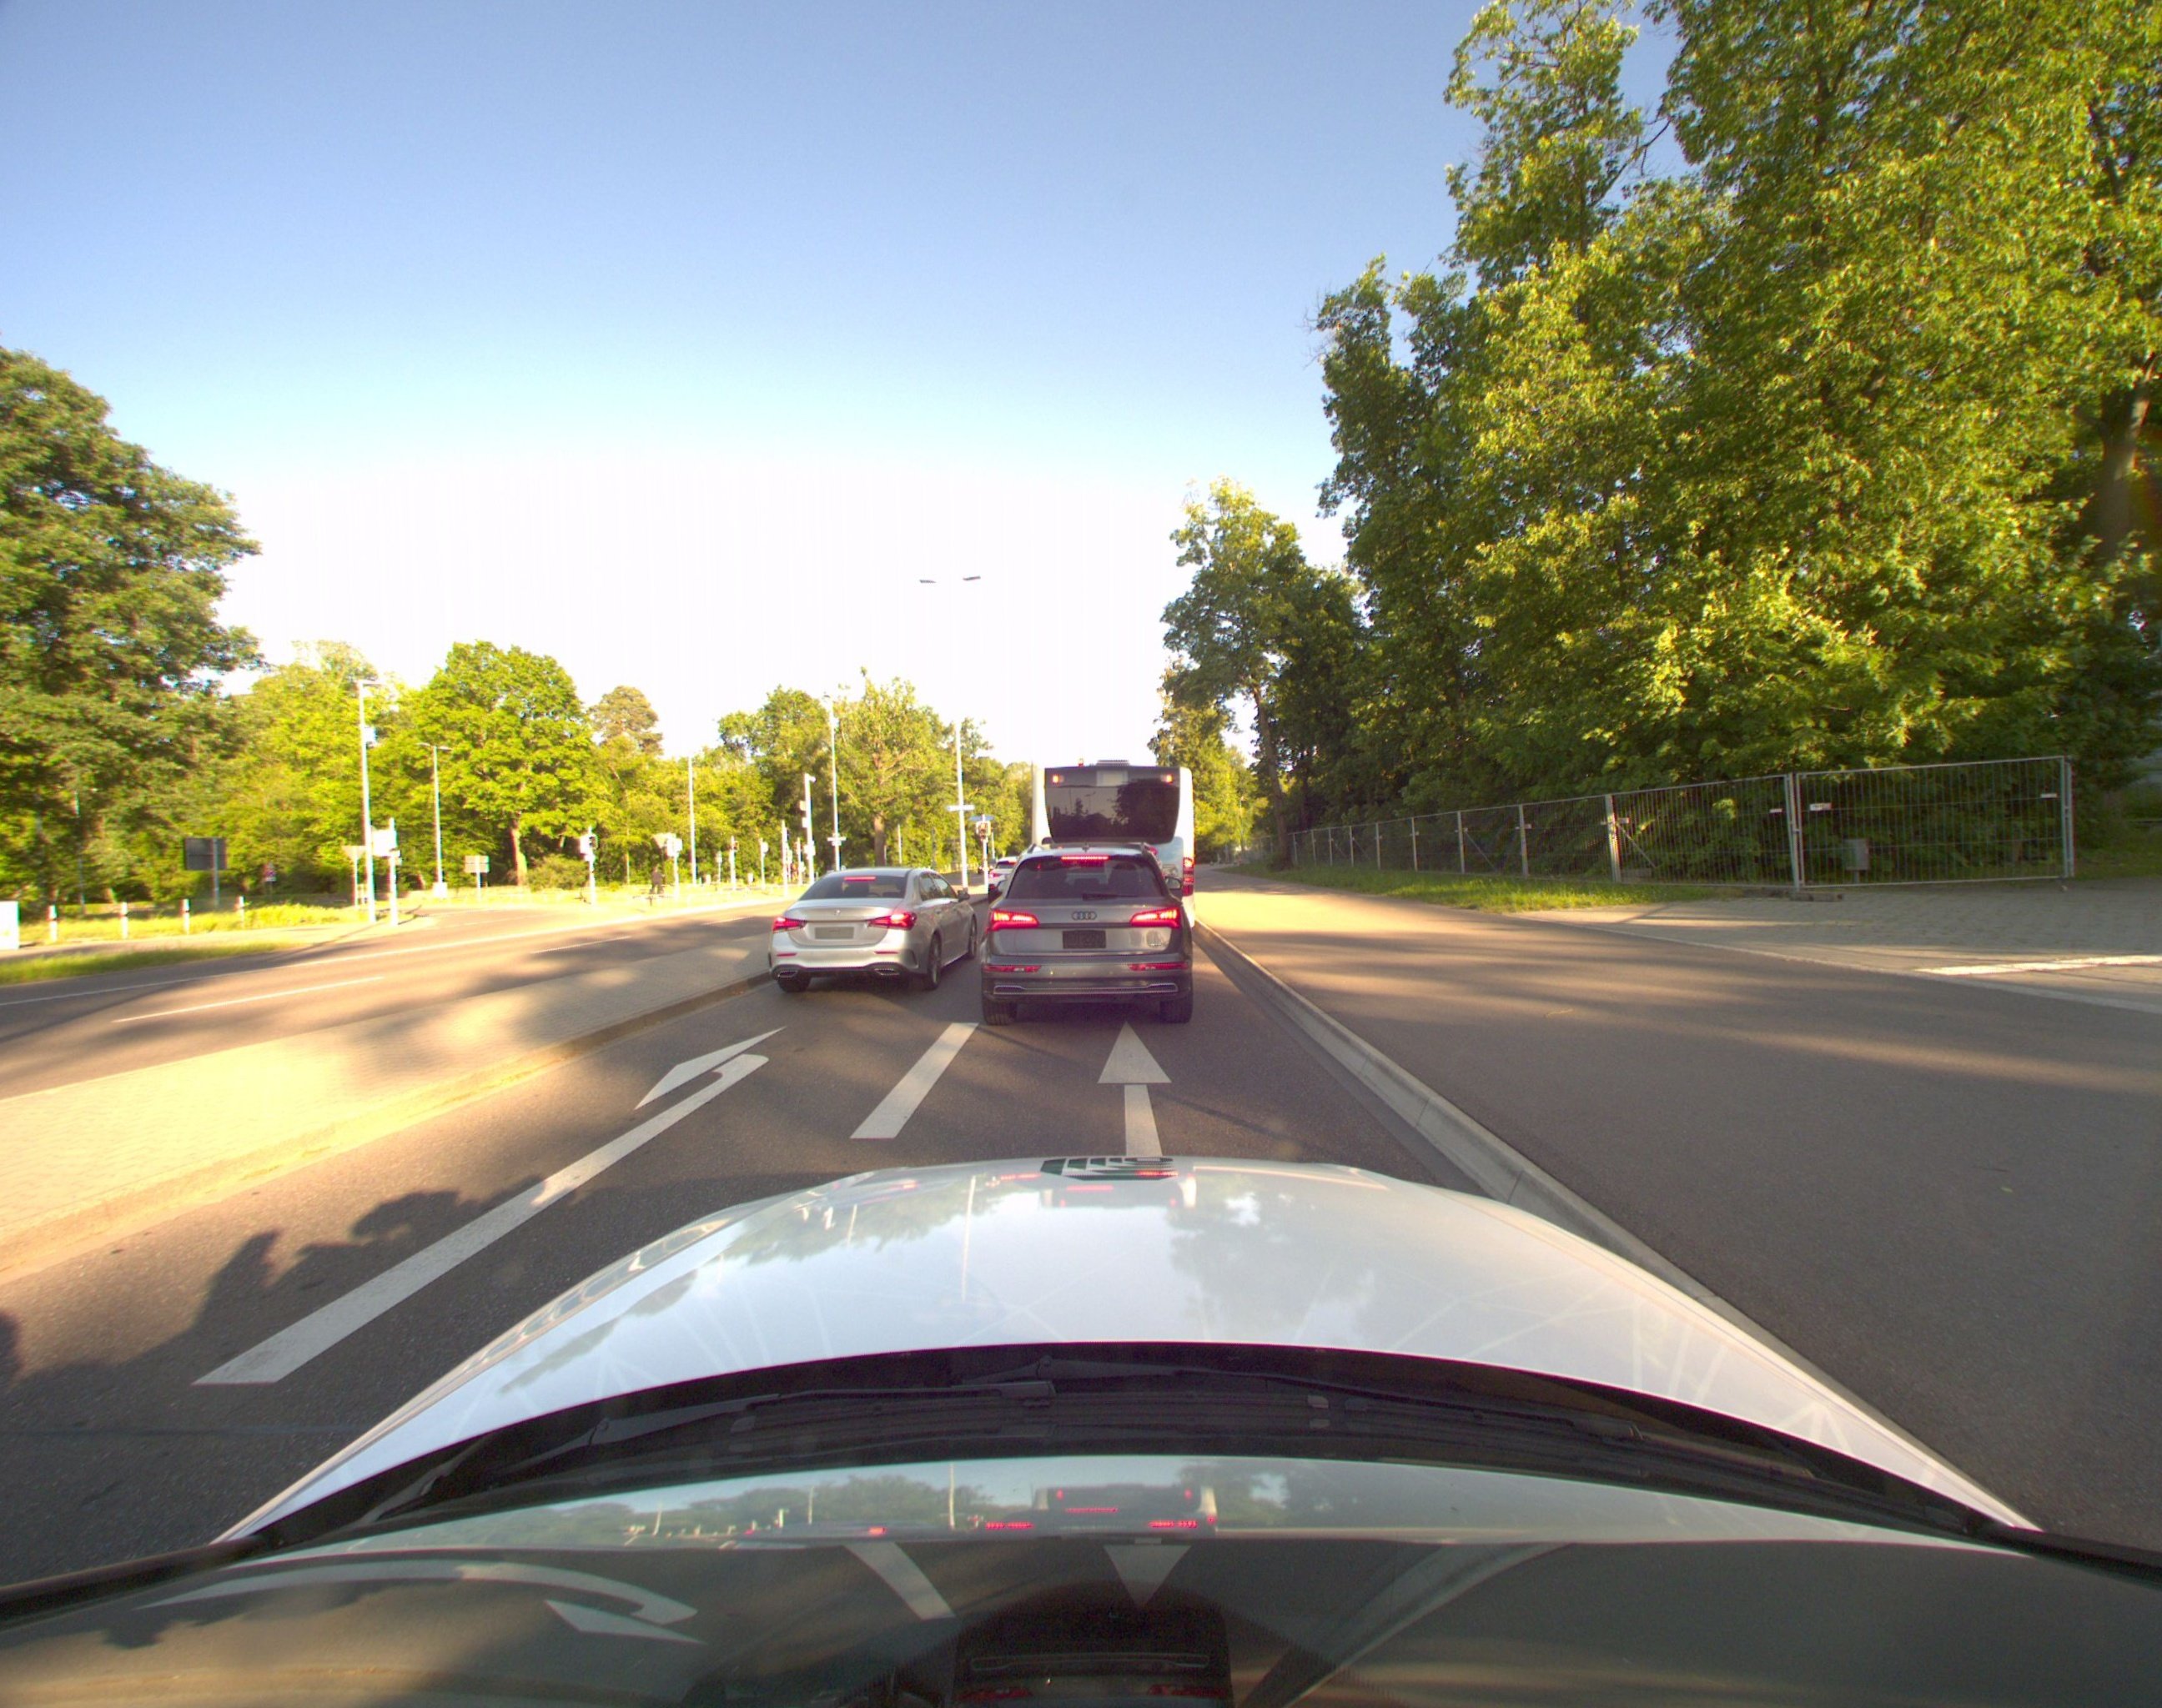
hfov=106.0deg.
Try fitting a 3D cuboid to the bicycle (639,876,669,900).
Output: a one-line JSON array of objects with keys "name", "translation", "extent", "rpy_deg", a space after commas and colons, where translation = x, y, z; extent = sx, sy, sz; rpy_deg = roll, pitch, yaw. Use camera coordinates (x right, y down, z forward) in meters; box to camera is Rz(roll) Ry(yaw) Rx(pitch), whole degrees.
[{"name": "bicycle", "translation": [-22.691, 1.802, 43.287], "extent": [0.466, 1.178, 2.005], "rpy_deg": [0, -1, 2]}]

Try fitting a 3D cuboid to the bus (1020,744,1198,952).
[{"name": "bus", "translation": [0.585, -0.114, 15.278], "extent": [2.667, 3.142, 5.887], "rpy_deg": [0, 0, 3]}]

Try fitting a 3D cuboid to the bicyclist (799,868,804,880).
[{"name": "bicyclist", "translation": [-22.254, 1.590, 64.834], "extent": [0.273, 0.963, 0.240], "rpy_deg": [0, -1, -6]}]

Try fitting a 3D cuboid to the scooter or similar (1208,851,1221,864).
[{"name": "scooter or similar", "translation": [12.800, 0.321, 77.829], "extent": [1.175, 1.174, 0.661], "rpy_deg": [0, 0, 13]}]

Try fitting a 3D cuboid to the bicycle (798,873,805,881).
[{"name": "bicycle", "translation": [-22.262, 1.842, 64.837], "extent": [0.266, 0.581, 0.838], "rpy_deg": [0, -1, -4]}]

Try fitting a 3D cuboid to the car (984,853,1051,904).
[{"name": "car", "translation": [-2.064, 0.767, 27.596], "extent": [1.801, 1.572, 4.002], "rpy_deg": [0, 1, 2]}]

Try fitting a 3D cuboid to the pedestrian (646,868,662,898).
[{"name": "pedestrian", "translation": [-22.705, 1.552, 43.313], "extent": [0.480, 1.562, 0.649], "rpy_deg": [0, -1, 2]}]

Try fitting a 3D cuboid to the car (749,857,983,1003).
[{"name": "car", "translation": [-2.495, 0.796, 10.601], "extent": [1.778, 1.444, 4.279], "rpy_deg": [0, 1, 2]}]

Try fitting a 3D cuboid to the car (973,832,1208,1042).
[{"name": "car", "translation": [0.139, 0.642, 8.474], "extent": [1.861, 1.663, 4.002], "rpy_deg": [0, 1, 2]}]

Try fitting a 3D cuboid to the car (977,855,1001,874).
[{"name": "car", "translation": [-8.602, 0.942, 76.583], "extent": [1.990, 1.662, 3.995], "rpy_deg": [-3, 0, -4]}]
